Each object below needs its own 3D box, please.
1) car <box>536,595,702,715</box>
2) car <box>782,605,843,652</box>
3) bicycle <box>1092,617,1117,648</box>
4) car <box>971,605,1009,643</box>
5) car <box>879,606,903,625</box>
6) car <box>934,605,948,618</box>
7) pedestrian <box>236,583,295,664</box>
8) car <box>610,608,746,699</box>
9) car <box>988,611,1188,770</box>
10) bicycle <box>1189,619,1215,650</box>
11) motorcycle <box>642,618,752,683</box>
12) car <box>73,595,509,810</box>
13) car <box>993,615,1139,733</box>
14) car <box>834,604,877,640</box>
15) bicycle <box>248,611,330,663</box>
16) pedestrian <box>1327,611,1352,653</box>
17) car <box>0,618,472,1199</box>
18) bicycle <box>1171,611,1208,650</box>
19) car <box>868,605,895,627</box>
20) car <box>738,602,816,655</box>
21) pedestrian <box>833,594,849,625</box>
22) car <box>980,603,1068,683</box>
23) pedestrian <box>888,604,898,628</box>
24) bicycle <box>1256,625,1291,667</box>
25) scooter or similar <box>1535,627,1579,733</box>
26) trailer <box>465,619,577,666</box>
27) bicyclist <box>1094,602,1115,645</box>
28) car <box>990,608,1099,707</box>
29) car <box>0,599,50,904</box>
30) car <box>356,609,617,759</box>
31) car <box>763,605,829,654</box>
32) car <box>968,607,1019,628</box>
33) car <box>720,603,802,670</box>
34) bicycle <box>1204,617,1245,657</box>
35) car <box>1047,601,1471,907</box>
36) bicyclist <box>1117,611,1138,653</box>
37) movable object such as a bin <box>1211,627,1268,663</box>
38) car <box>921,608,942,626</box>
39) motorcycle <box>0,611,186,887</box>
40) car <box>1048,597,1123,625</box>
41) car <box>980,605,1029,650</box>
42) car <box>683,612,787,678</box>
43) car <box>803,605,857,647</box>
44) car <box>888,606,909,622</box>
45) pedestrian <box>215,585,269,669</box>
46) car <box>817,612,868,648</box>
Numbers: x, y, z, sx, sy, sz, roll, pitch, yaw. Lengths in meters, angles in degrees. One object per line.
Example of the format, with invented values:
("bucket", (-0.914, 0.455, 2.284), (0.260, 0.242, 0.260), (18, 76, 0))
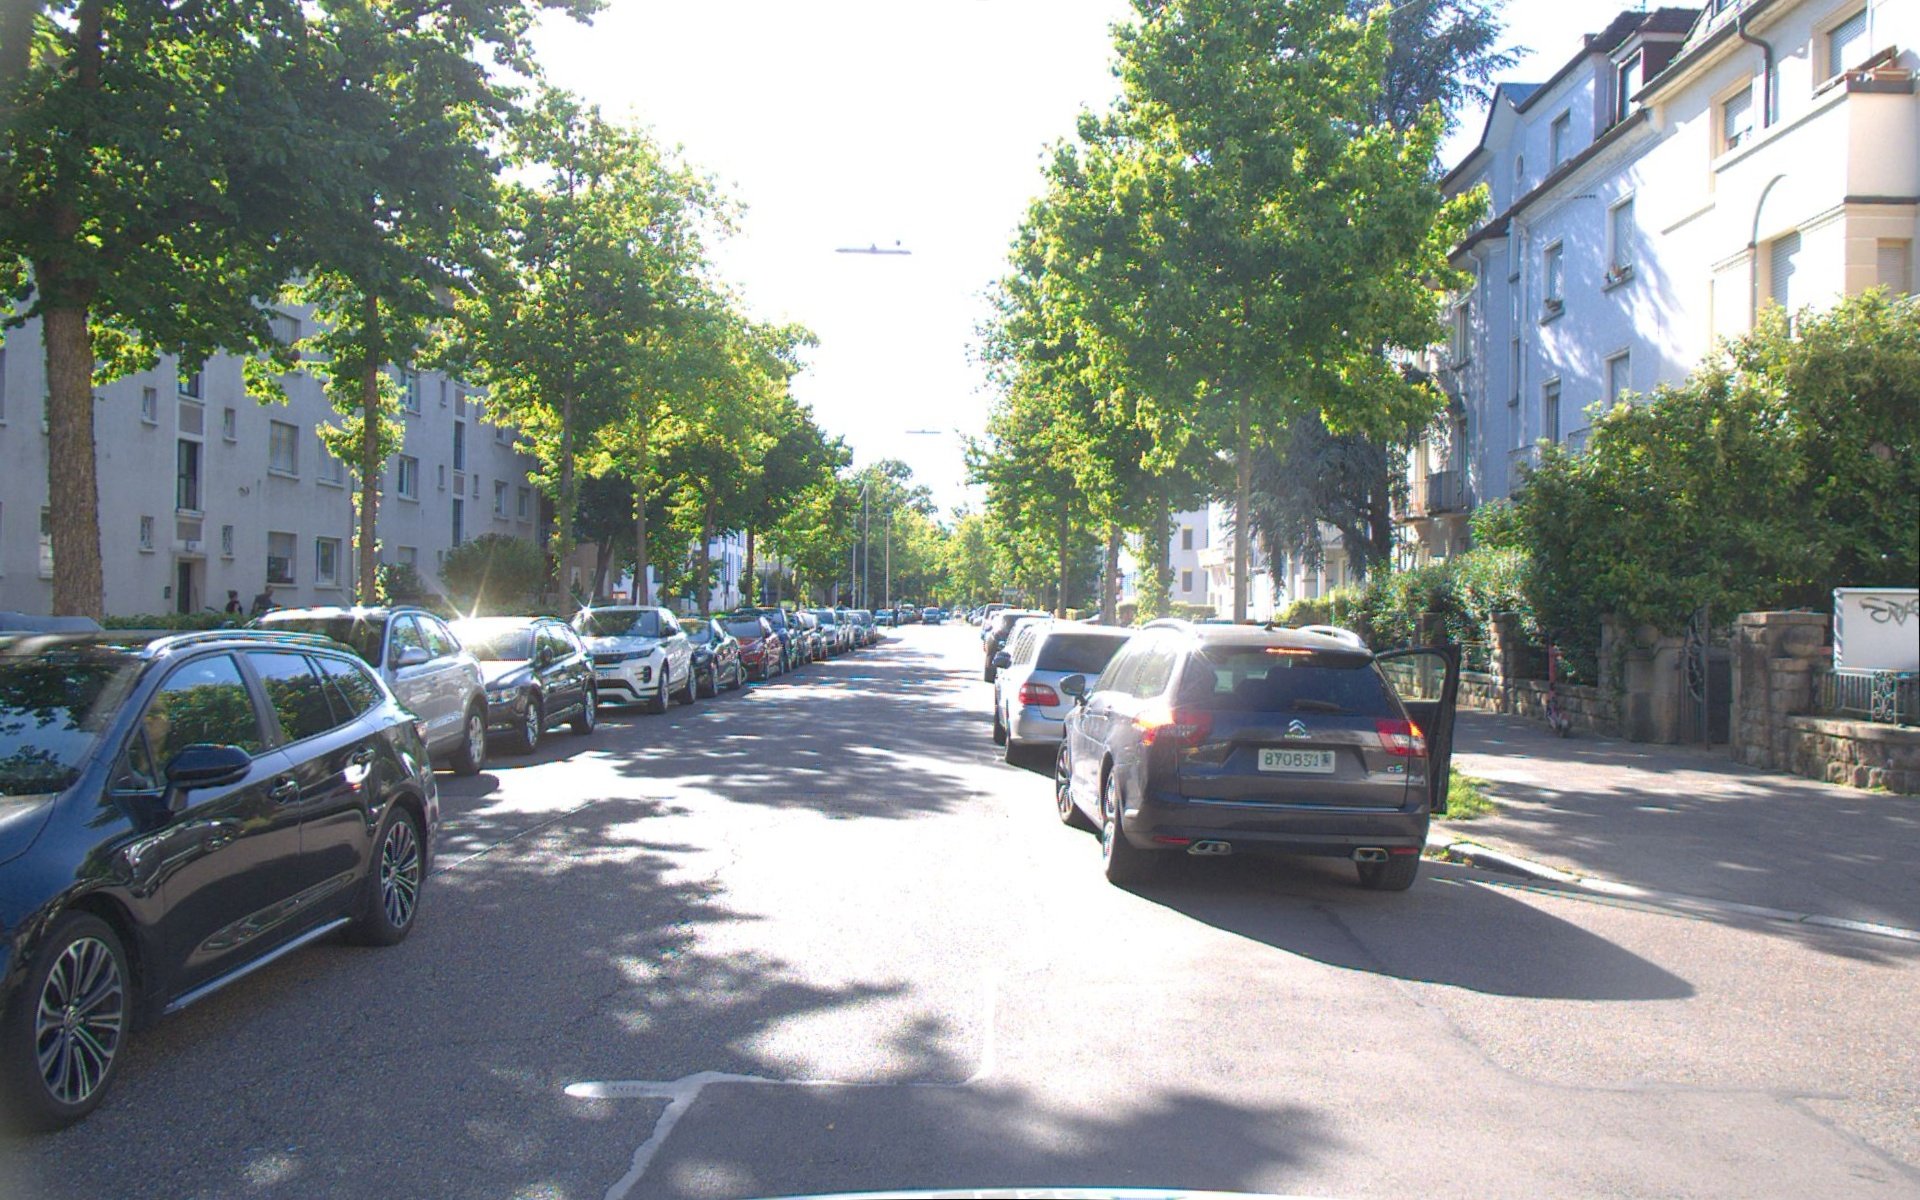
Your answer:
("car", (-5.276, 0.811, 26.121), (1.693, 1.646, 4.365), (-3, 0, -1))
("car", (-5.211, 0.989, 58.804), (1.774, 1.624, 4.232), (0, 0, 0))
("bicycle", (5.597, 1.259, 64.069), (0.670, 1.173, 2.402), (0, 0, -3))
("car", (1.571, 1.262, 89.366), (1.930, 1.983, 4.985), (1, 0, 0))
("car", (-6.183, 1.364, 148.608), (1.952, 1.613, 4.000), (0, 0, 0))
("car", (-2.430, 1.471, 213.039), (1.856, 1.588, 4.000), (0, 0, 0))
("pedestrian", (-16.809, 0.569, 40.044), (0.913, 1.921, 1.027), (0, -1, 9))
("car", (-5.271, 0.957, 31.462), (1.693, 1.503, 4.619), (-3, 0, 1))
("car", (1.313, 0.916, 18.904), (1.784, 1.495, 4.908), (2, 0, -1))
("bicycle", (7.887, 1.118, 53.984), (0.583, 0.974, 1.903), (0, 0, 0))
("motorcycle", (-5.574, 1.063, 35.089), (2.244, 1.293, 0.806), (-1, 0, -10))
("car", (-5.497, 0.748, 14.372), (2.022, 1.551, 4.719), (0, 0, -3))
("car", (1.423, 0.989, 23.893), (1.676, 1.435, 4.860), (2, 0, -1))
("car", (-4.982, 1.045, 79.185), (1.802, 1.623, 4.261), (-1, 0, 0))
("bicycle", (-15.727, 0.861, 38.810), (0.502, 1.173, 1.954), (1, -1, 23))
("pedestrian", (10.628, 0.898, 46.319), (0.499, 1.162, 0.755), (1, -1, -1))
("car", (-3.326, 0.829, 6.102), (1.772, 1.471, 4.365), (-1, 0, -1))
("bicycle", (7.819, 1.029, 56.386), (0.822, 1.279, 2.230), (1, -1, -3))
("car", (-6.303, 1.269, 133.320), (1.952, 1.700, 4.000), (0, 0, 0))
("car", (-5.322, 0.812, 48.521), (1.792, 1.478, 4.122), (0, 0, 0))
("pedestrian", (-7.984, 0.622, 111.025), (0.841, 2.049, 0.982), (0, 0, 9))
("car", (1.500, 0.961, 39.202), (1.886, 1.680, 5.096), (3, 0, 2))
("pedestrian", (-5.328, 1.286, 131.634), (0.702, 1.933, 0.835), (0, 0, -9))
("bicycle", (7.667, 1.113, 40.509), (0.569, 0.992, 1.904), (0, 0, 2))
("scooter or similar", (7.208, 0.949, 19.996), (0.393, 1.205, 1.206), (0, 0, 15))
("trailer", (-10.713, 1.023, 40.557), (1.751, 1.052, 3.282), (1, 0, 2))
("bicyclist", (5.595, 0.905, 64.058), (0.663, 1.638, 0.921), (0, -1, -3))
("car", (1.451, 0.978, 29.620), (1.621, 1.559, 3.968), (3, 0, -1))
("car", (-5.761, 0.759, 6.542), (2.002, 1.551, 4.602), (0, 0, -4))
("car", (-5.406, 0.888, 19.556), (1.693, 1.472, 4.820), (-2, 0, 0))
("car", (-5.234, 0.929, 53.266), (1.726, 1.469, 3.908), (-1, 0, 0))
("car", (2.637, 1.409, 130.814), (3.908, 1.615, 1.726), (0, 0, -4))
("car", (-5.182, 0.926, 43.569), (1.753, 1.594, 4.463), (-2, 0, -3))
("bicycle", (7.897, 1.093, 49.436), (0.787, 1.135, 1.999), (1, -1, -2))
("car", (1.691, 0.844, 11.091), (1.857, 1.551, 4.966), (1, -1, -1))
("bicyclist", (6.429, 1.212, 63.536), (0.662, 1.580, 1.021), (0, -1, -3))
("movable object such as a bin", (7.459, 1.187, 44.017), (1.196, 0.920, 1.664), (0, 0, 21))
("car", (-2.634, 1.520, 152.866), (1.748, 1.637, 3.997), (0, 0, -4))
("motorcycle", (-5.675, 0.838, 10.395), (0.980, 1.530, 2.202), (0, 0, -39))
("car", (8.713, 0.775, 114.400), (5.025, 1.854, 1.977), (2, -1, -34))
("car", (1.829, 1.112, 68.914), (1.868, 1.728, 4.313), (3, 0, 0))
("car", (-5.151, 0.993, 38.348), (1.743, 1.403, 4.262), (-1, 0, 1))
("car", (-5.042, 0.992, 64.593), (1.675, 1.571, 3.930), (-1, 0, 1))
("car", (-6.303, 1.407, 170.396), (1.952, 1.613, 4.000), (0, 0, 0))
("pedestrian", (-16.805, 0.620, 38.712), (0.765, 1.947, 0.877), (0, -1, 27))
("car", (-5.158, 1.305, 73.112), (1.953, 1.478, 4.261), (-2, 0, 0))
